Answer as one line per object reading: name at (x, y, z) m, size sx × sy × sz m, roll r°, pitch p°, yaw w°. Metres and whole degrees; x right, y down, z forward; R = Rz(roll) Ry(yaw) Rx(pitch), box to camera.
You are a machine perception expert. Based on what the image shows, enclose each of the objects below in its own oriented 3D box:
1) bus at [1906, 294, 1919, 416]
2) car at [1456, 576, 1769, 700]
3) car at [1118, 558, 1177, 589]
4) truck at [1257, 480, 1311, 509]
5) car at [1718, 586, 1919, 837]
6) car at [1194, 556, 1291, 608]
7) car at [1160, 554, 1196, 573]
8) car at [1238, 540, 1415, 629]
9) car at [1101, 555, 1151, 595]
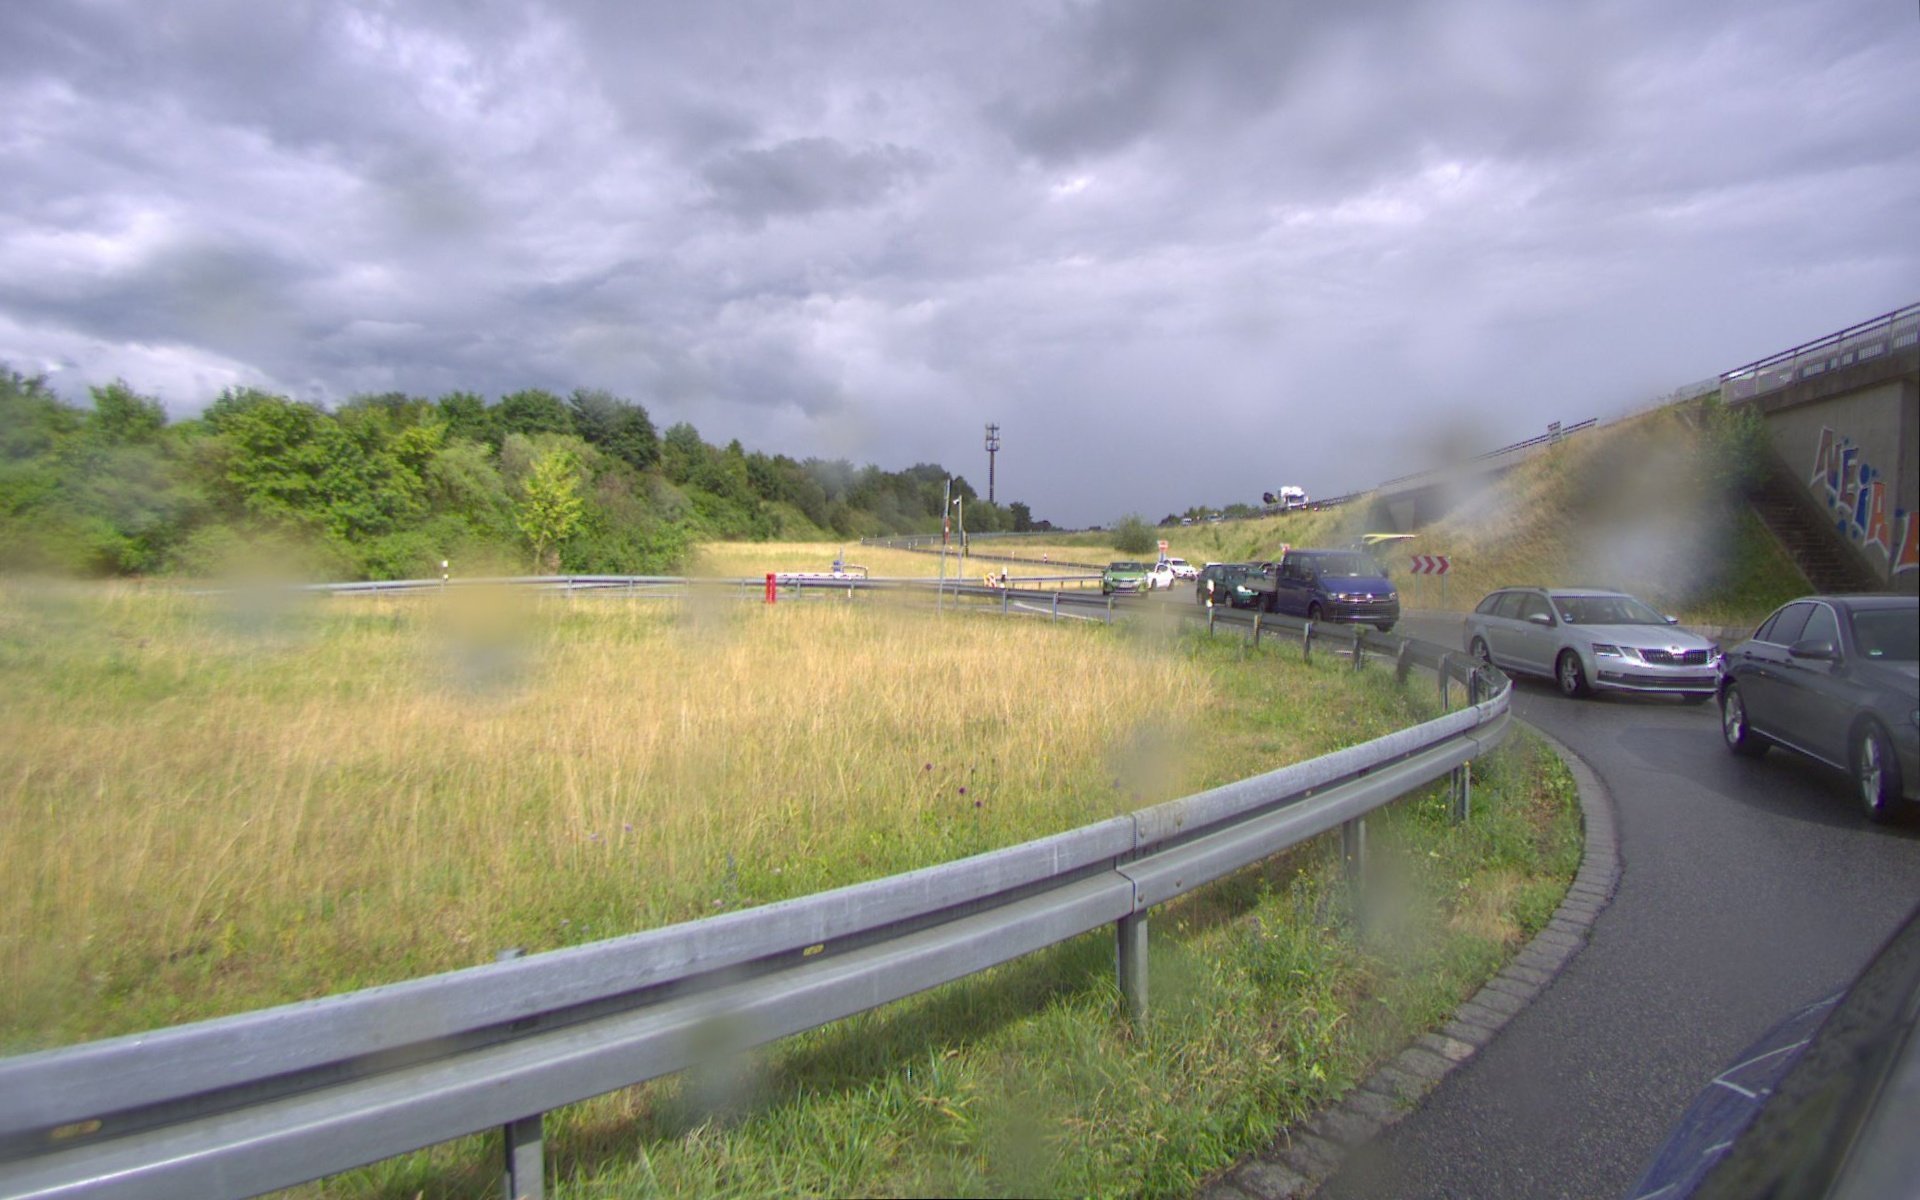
bus at (24.675, -5.986, 19.389) m, size 2.573 × 3.116 × 14.417 m, roll 0°, pitch 3°, yaw 13°
car at (8.998, 0.420, 14.494) m, size 1.765 × 1.415 × 4.349 m, roll 0°, pitch 2°, yaw 2°
car at (9.459, -1.361, 50.945) m, size 1.606 × 1.492 × 3.887 m, roll 3°, pitch 3°, yaw 31°
truck at (40.887, -13.300, 128.114) m, size 3.098 × 3.232 × 9.295 m, roll -1°, pitch 3°, yaw -5°
car at (7.155, 0.645, 7.228) m, size 1.752 × 1.408 × 4.555 m, roll 1°, pitch 2°, yaw 24°
car at (8.963, -0.626, 32.414) m, size 1.624 × 1.492 × 3.853 m, roll 0°, pitch 3°, yaw -6°
car at (16.128, -2.753, 75.133) m, size 1.678 × 1.305 × 3.779 m, roll 0°, pitch 3°, yaw -3°
car at (9.076, -0.521, 25.751) m, size 1.855 × 1.937 × 5.694 m, roll 0°, pitch 4°, yaw -6°
car at (6.715, -1.058, 41.155) m, size 1.589 × 1.492 × 3.845 m, roll 1°, pitch 3°, yaw 3°
